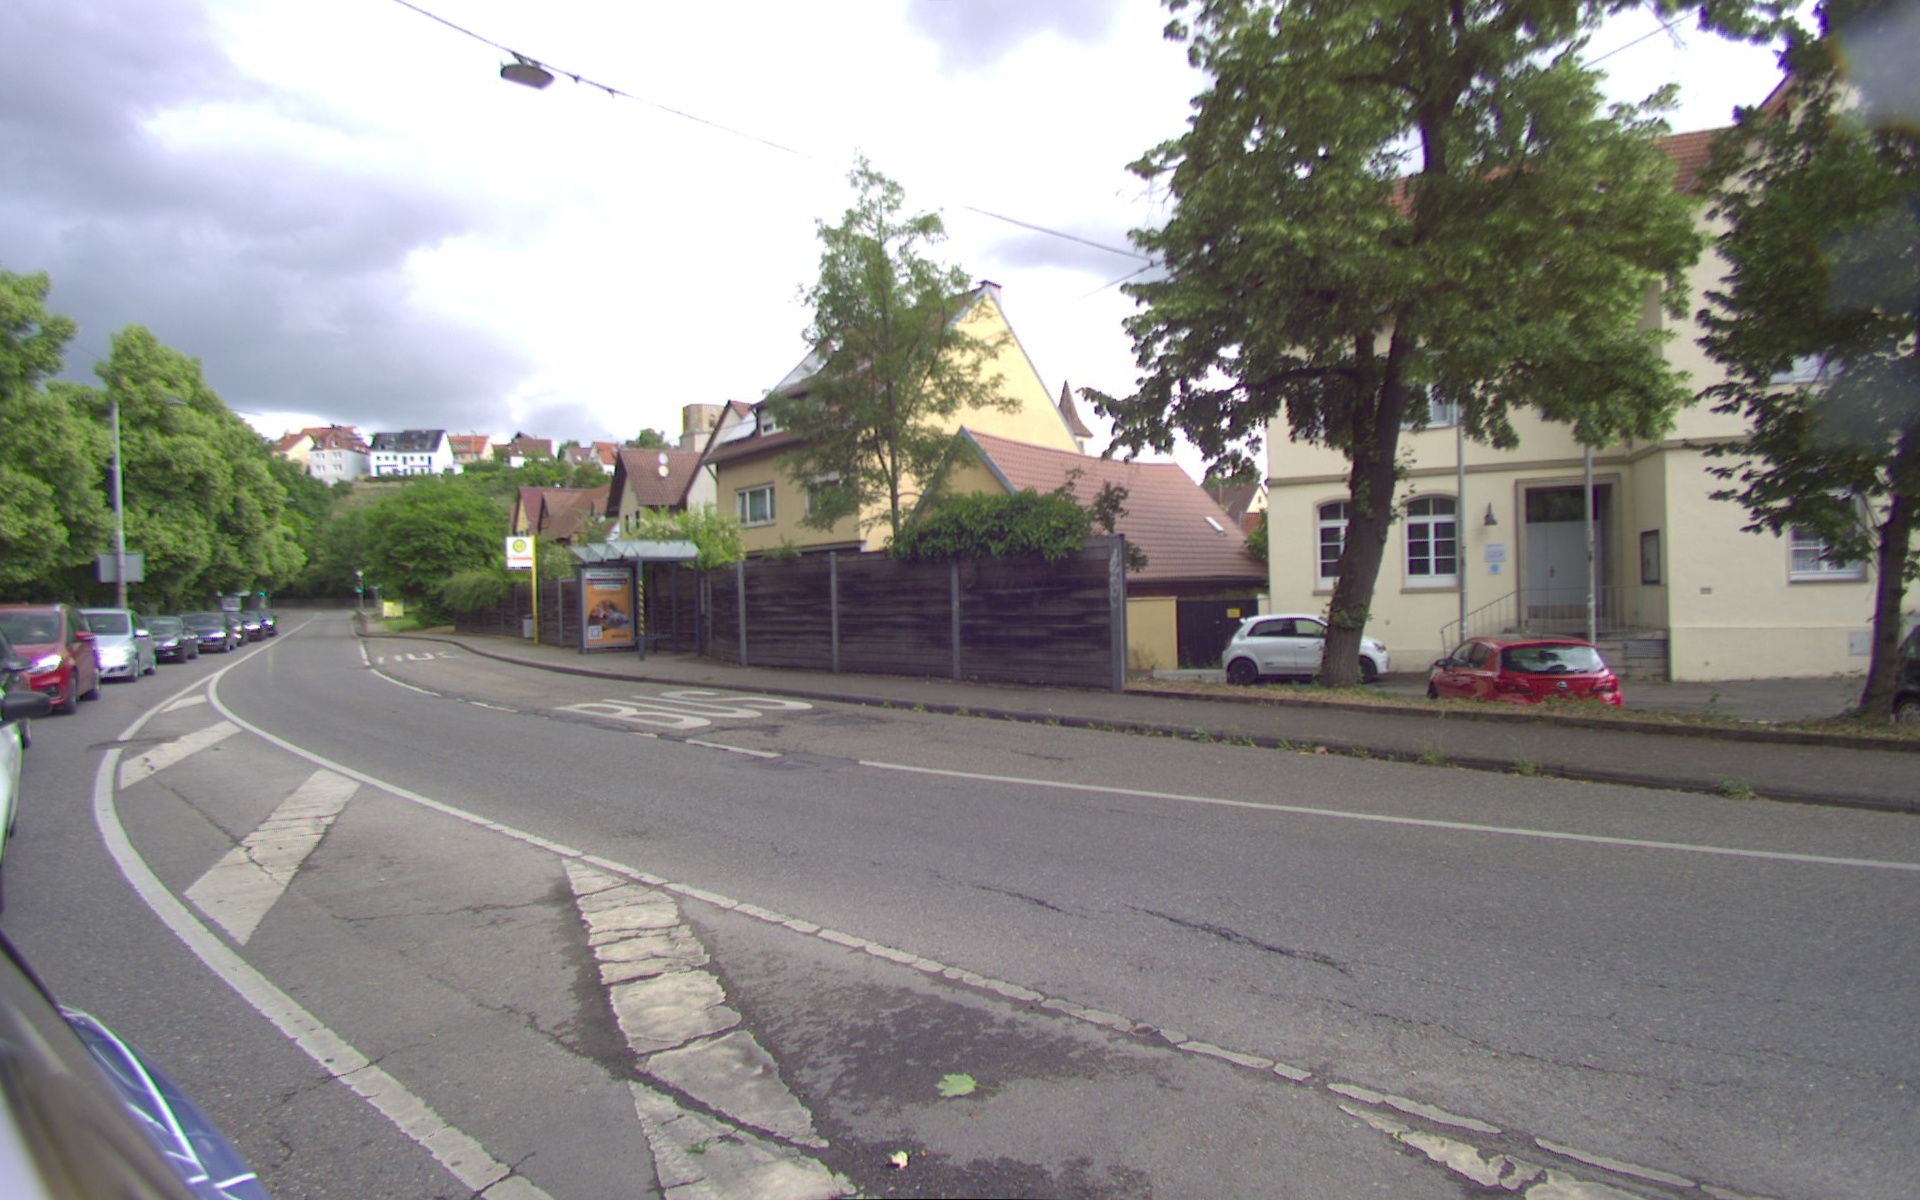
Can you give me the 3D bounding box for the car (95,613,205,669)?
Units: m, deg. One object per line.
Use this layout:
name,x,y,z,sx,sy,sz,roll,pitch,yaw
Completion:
car,-23.645,1.134,29.687,1.823,1.468,4.013,-1,0,-29

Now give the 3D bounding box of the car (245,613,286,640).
car,-35.840,1.344,52.299,1.396,1.259,3.306,-1,0,-29

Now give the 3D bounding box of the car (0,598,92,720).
car,-14.505,0.829,15.400,1.649,1.654,4.110,-1,0,-36

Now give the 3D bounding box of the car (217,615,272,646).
car,-32.760,1.364,46.407,1.617,1.278,3.637,-1,0,-29

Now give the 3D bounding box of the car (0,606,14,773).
car,-10.769,0.847,10.204,1.705,1.532,4.005,-1,0,-42

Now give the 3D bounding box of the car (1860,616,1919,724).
car,12.591,0.875,11.728,1.465,1.320,3.394,-1,0,6

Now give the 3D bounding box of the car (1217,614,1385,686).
car,7.680,1.106,22.950,3.454,1.503,1.643,-1,0,20

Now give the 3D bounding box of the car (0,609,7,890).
car,-6.231,0.820,5.409,1.604,1.519,4.004,-1,0,-43

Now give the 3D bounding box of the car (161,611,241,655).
car,-26.628,1.119,35.614,1.669,1.422,3.994,-1,0,-29

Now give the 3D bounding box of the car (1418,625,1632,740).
car,8.065,1.109,14.814,1.582,1.363,3.619,-1,0,10

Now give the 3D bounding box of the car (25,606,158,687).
car,-19.021,0.945,22.318,1.754,1.580,4.010,-1,0,-34

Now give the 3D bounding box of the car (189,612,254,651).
car,-30.109,1.250,41.351,1.679,1.457,3.879,-1,0,-29
